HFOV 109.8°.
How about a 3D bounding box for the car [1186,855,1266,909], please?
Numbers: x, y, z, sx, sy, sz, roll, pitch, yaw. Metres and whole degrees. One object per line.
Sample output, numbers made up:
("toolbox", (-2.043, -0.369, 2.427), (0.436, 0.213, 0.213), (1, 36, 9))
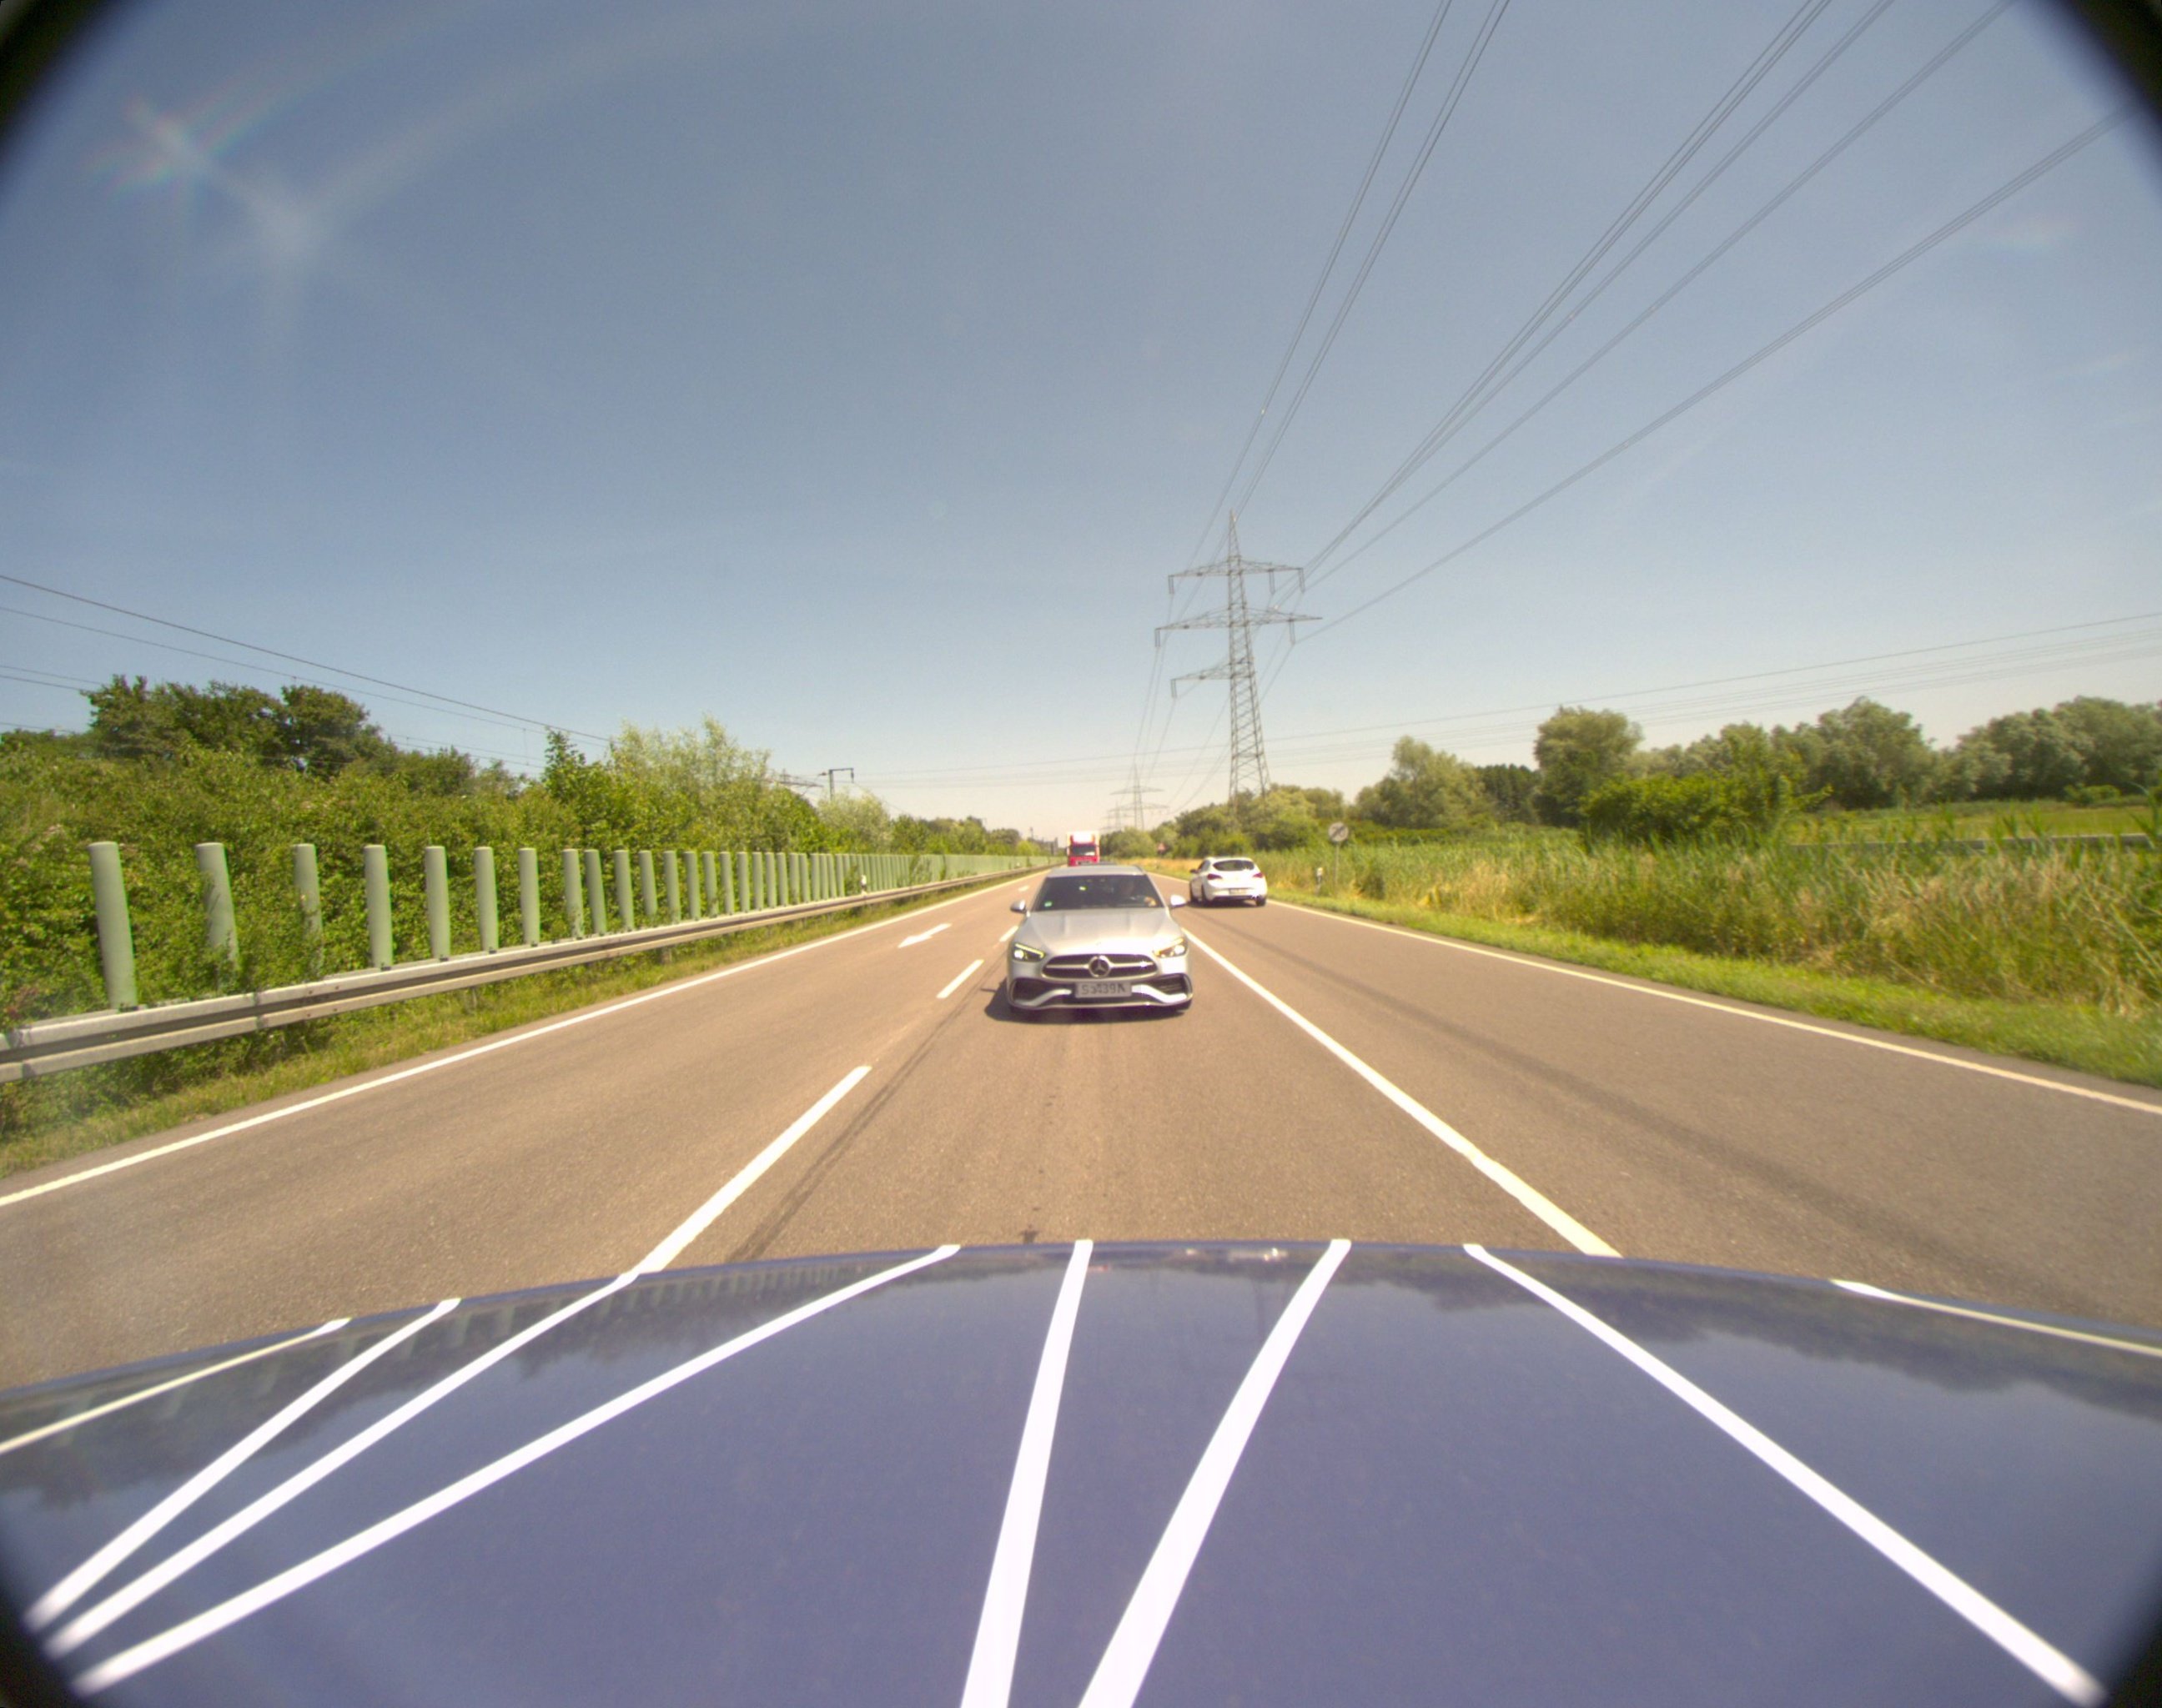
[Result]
("car", (4.346, 0.786, 23.378), (1.729, 1.432, 4.249), (-2, 0, 1))

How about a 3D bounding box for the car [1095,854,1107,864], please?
("car", (3.097, 0.709, 117.900), (1.749, 1.425, 4.322), (-2, 0, -1))

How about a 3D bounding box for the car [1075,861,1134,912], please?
("car", (0.772, 0.985, 24.738), (1.697, 1.385, 4.468), (-2, 0, 2))

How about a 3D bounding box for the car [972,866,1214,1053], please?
("car", (0.142, 0.928, 8.630), (1.998, 1.437, 4.467), (-2, 0, 1))

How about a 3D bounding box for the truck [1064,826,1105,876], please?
("truck", (0.330, -0.241, 62.554), (2.907, 3.641, 7.156), (-4, 0, 1))
